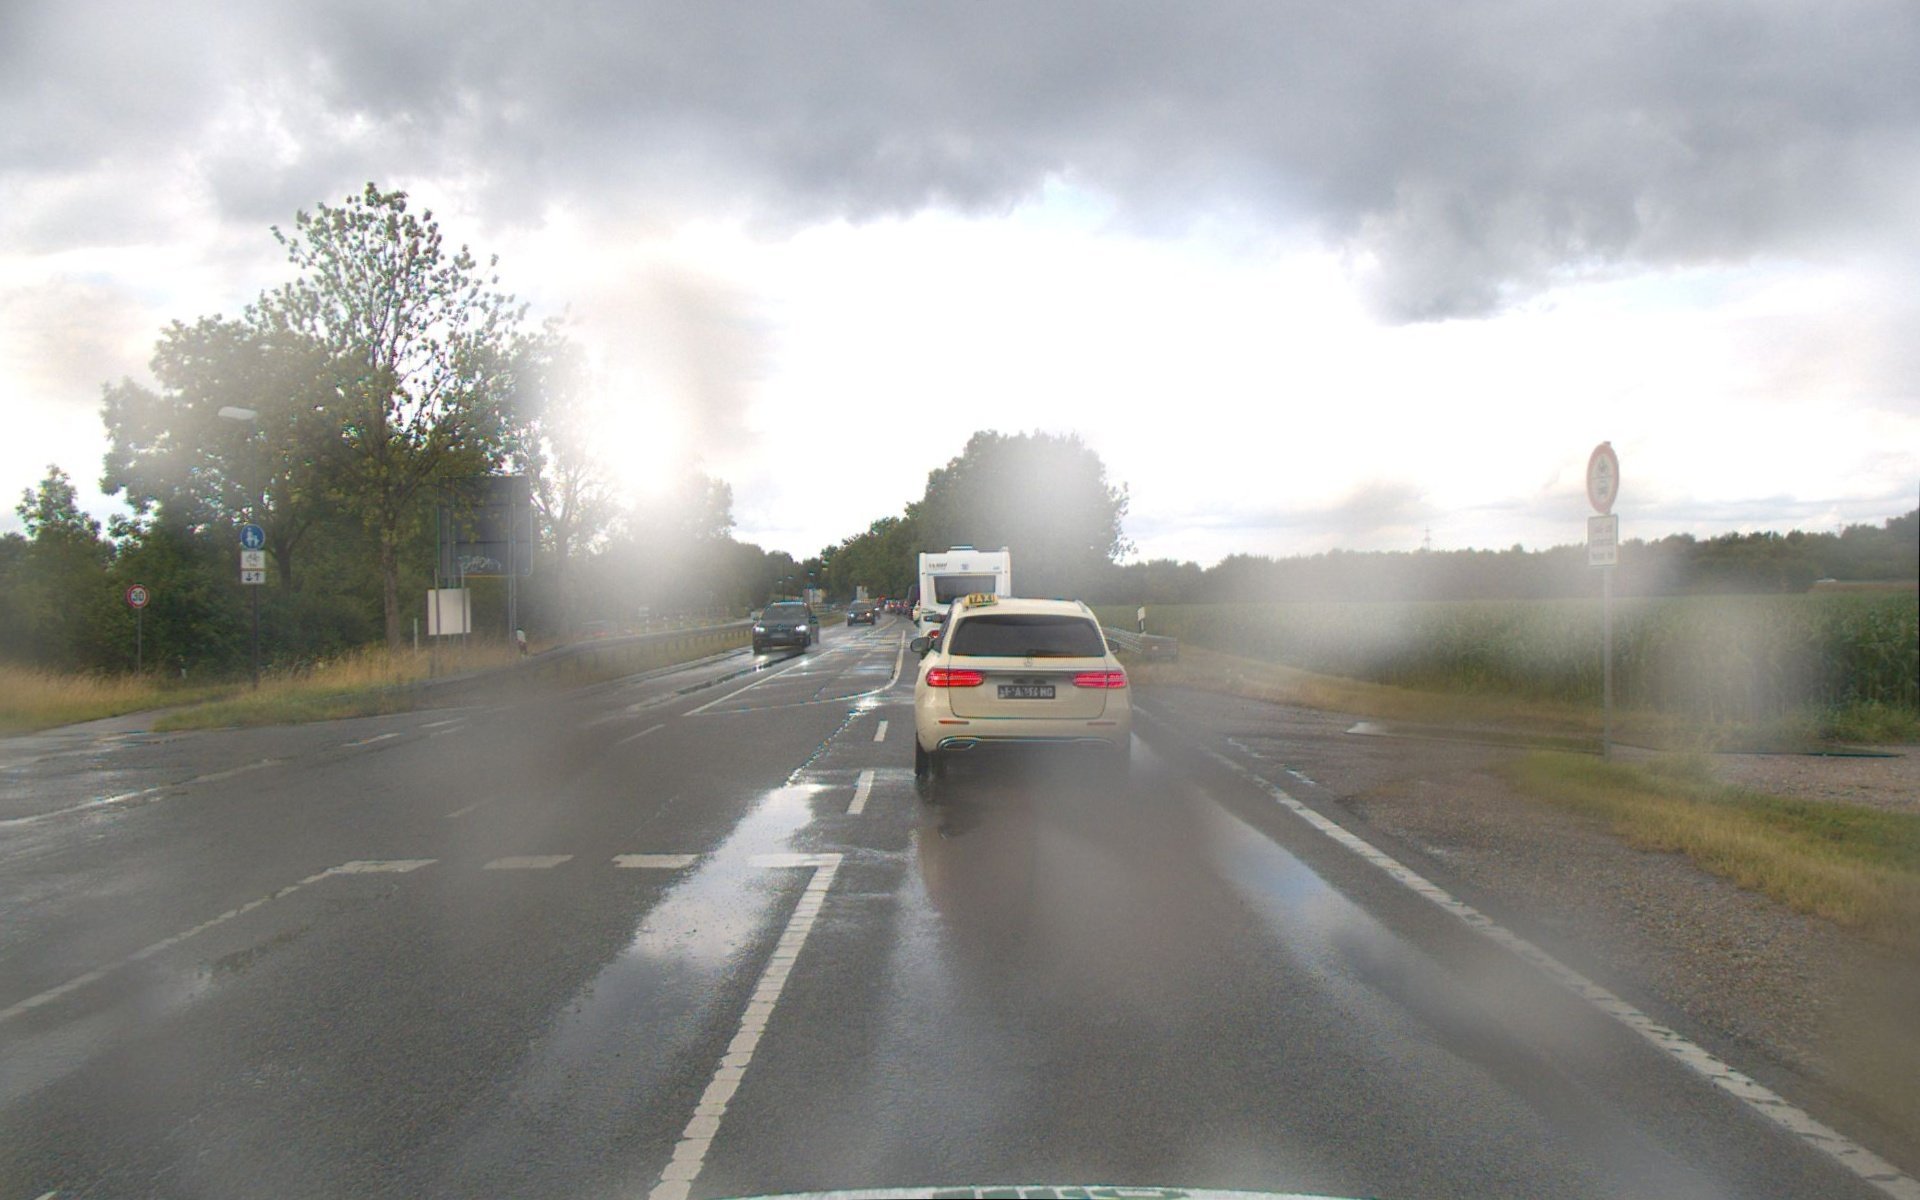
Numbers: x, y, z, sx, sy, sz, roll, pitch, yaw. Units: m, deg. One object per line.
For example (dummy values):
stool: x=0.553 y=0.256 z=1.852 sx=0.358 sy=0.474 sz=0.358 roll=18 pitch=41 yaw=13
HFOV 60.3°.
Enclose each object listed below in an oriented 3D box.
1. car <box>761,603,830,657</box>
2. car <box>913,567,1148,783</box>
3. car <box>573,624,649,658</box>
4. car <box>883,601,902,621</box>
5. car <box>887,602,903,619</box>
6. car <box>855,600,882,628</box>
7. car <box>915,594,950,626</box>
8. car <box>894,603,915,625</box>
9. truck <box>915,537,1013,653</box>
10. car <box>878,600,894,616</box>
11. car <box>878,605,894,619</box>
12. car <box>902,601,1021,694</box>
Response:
car: x=-5.202 y=0.935 z=52.677 sx=1.791 sy=1.601 sz=3.999 roll=1 pitch=0 yaw=0
car: x=0.518 y=0.584 z=14.757 sx=1.805 sy=1.646 sz=3.999 roll=1 pitch=0 yaw=-1
car: x=-17.314 y=2.019 z=82.323 sx=2.253 sy=1.574 sz=4.636 roll=1 pitch=0 yaw=7
car: x=-6.978 y=1.151 z=171.264 sx=1.814 sy=2.049 sz=3.810 roll=-1 pitch=0 yaw=-1
car: x=-7.420 y=1.221 z=190.191 sx=1.705 sy=1.892 sz=3.784 roll=-1 pitch=0 yaw=-1
car: x=-5.730 y=0.876 z=103.578 sx=1.548 sy=1.668 sz=3.441 roll=-1 pitch=0 yaw=-1
car: x=-1.622 y=0.589 z=98.834 sx=1.876 sy=1.873 sz=3.796 roll=-1 pitch=0 yaw=1
car: x=-4.807 y=1.220 z=144.414 sx=1.755 sy=1.808 sz=3.720 roll=-1 pitch=0 yaw=-1
truck: x=0.055 y=-0.122 z=43.649 sx=2.315 sy=2.776 sz=7.313 roll=-1 pitch=0 yaw=-1
car: x=-9.333 y=1.017 z=208.490 sx=1.858 sy=1.928 sz=3.840 roll=-1 pitch=0 yaw=-4
car: x=-8.921 y=1.407 z=199.424 sx=1.714 sy=1.691 sz=3.669 roll=-1 pitch=0 yaw=-4
car: x=0.000 y=0.811 z=29.941 sx=1.953 sy=1.488 sz=3.999 roll=2 pitch=0 yaw=-1
